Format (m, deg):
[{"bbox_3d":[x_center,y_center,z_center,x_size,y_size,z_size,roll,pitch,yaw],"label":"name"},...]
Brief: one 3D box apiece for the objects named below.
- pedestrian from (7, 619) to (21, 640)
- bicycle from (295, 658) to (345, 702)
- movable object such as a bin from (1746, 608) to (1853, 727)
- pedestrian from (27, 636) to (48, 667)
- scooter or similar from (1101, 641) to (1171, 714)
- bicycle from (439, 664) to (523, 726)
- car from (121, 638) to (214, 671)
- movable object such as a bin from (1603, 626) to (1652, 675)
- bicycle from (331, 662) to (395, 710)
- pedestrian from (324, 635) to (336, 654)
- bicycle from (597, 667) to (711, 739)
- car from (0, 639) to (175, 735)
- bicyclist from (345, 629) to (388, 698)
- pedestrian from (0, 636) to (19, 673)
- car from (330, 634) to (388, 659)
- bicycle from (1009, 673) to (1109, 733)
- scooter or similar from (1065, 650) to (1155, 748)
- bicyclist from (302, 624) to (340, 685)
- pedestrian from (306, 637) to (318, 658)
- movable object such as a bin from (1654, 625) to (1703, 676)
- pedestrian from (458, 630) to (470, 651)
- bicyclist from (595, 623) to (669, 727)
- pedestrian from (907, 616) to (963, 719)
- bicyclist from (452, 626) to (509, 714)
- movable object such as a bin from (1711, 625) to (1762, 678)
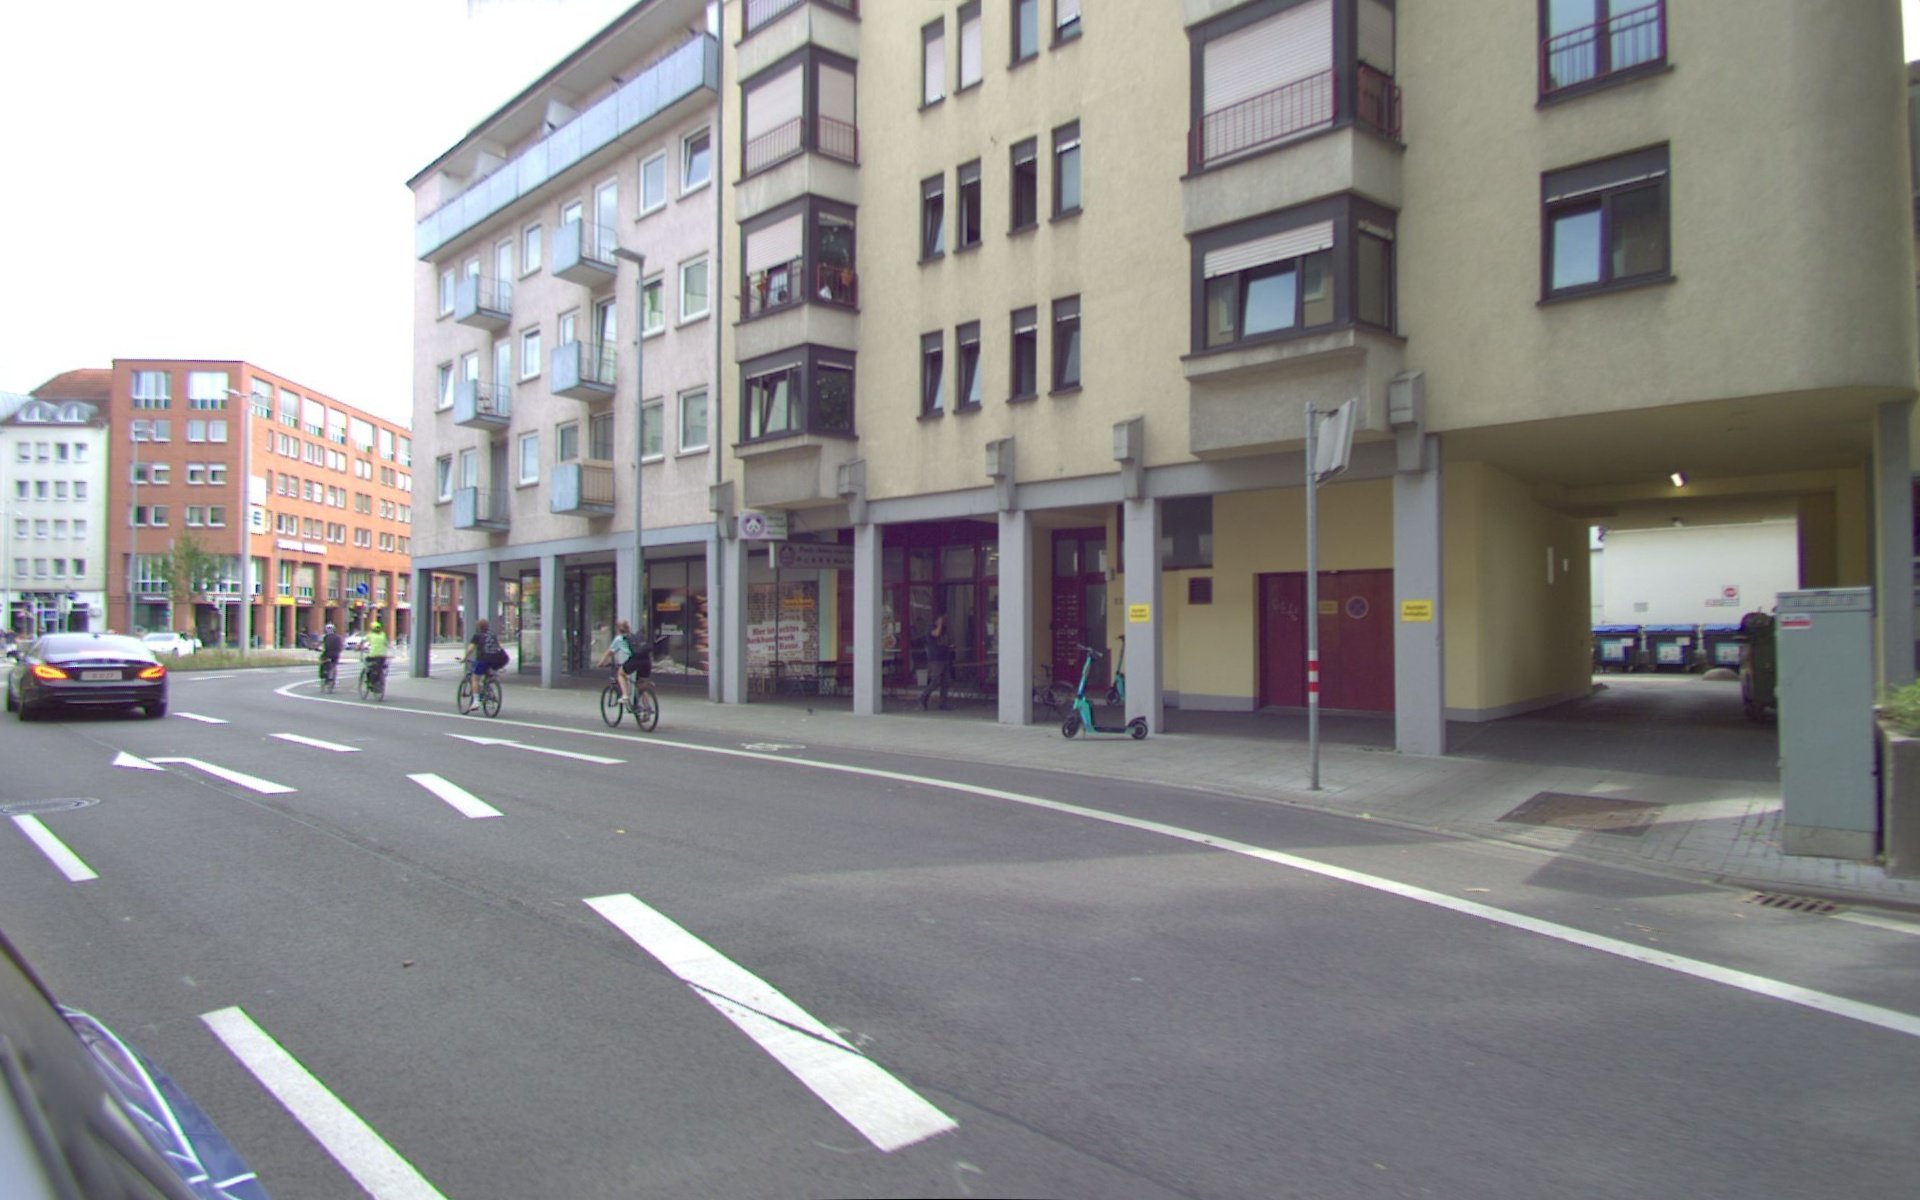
[{"bbox_3d":[-69.411,2.197,74.222,0.628,1.523,0.586,-3,-3,33],"label":"pedestrian"},{"bbox_3d":[-16.747,2.074,26.460,0.729,1.014,1.910,1,0,-44],"label":"bicycle"},{"bbox_3d":[11.555,0.911,13.970,1.065,1.552,1.131,-2,-3,39],"label":"movable object such as a bin"},{"bbox_3d":[-56.320,3.153,61.778,0.560,1.838,0.696,0,-3,-5],"label":"pedestrian"},{"bbox_3d":[2.990,1.300,17.259,1.175,1.211,0.283,-2,-3,38],"label":"scooter or similar"},{"bbox_3d":[-8.727,1.706,18.409,1.977,1.014,0.729,-4,-2,45],"label":"bicycle"},{"bbox_3d":[-41.878,2.861,53.603,1.929,1.614,4.003,0,-2,-4],"label":"car"},{"bbox_3d":[20.062,1.507,30.424,1.065,1.460,1.130,-2,-3,40],"label":"movable object such as a bin"},{"bbox_3d":[-13.699,1.960,23.186,0.729,1.014,2.253,-1,-2,-44],"label":"bicycle"},{"bbox_3d":[-55.849,3.956,89.729,0.637,1.709,0.699,1,-2,-6],"label":"pedestrian"},{"bbox_3d":[-4.822,1.586,15.870,2.196,1.014,0.729,-4,-2,45],"label":"bicycle"},{"bbox_3d":[-15.108,1.382,17.292,4.606,1.418,1.791,-2,-3,41],"label":"car"},{"bbox_3d":[-13.706,1.468,23.360,0.649,1.537,0.841,-1,-3,-44],"label":"bicyclist"},{"bbox_3d":[-51.859,2.985,55.137,0.710,1.986,1.015,5,-6,-40],"label":"pedestrian"},{"bbox_3d":[-46.983,3.610,79.220,1.974,1.893,3.995,-1,-2,4],"label":"car"},{"bbox_3d":[1.519,1.581,15.730,1.618,0.827,0.424,-2,-3,42],"label":"bicycle"},{"bbox_3d":[1.988,1.312,13.476,1.162,1.274,0.286,0,-2,5],"label":"scooter or similar"},{"bbox_3d":[-16.754,1.413,26.539,0.649,1.537,1.003,-1,0,-44],"label":"bicyclist"},{"bbox_3d":[-54.082,3.962,84.480,0.631,1.700,0.600,0,-3,-4],"label":"pedestrian"},{"bbox_3d":[20.985,1.472,29.559,1.065,1.460,1.130,-2,-3,40],"label":"movable object such as a bin"},{"bbox_3d":[-44.404,3.601,90.547,0.683,1.889,0.807,0,-2,-3],"label":"pedestrian"},{"bbox_3d":[-5.070,1.143,15.623,0.649,1.537,1.077,-1,-3,-44],"label":"bicyclist"},{"bbox_3d":[-0.443,1.179,18.002,0.784,1.770,0.575,-2,-1,41],"label":"pedestrian"},{"bbox_3d":[-8.702,1.260,18.357,0.649,1.537,0.857,-1,-3,-44],"label":"bicyclist"},{"bbox_3d":[21.940,1.443,28.584,1.065,1.460,1.130,-2,-3,40],"label":"movable object such as a bin"}]
